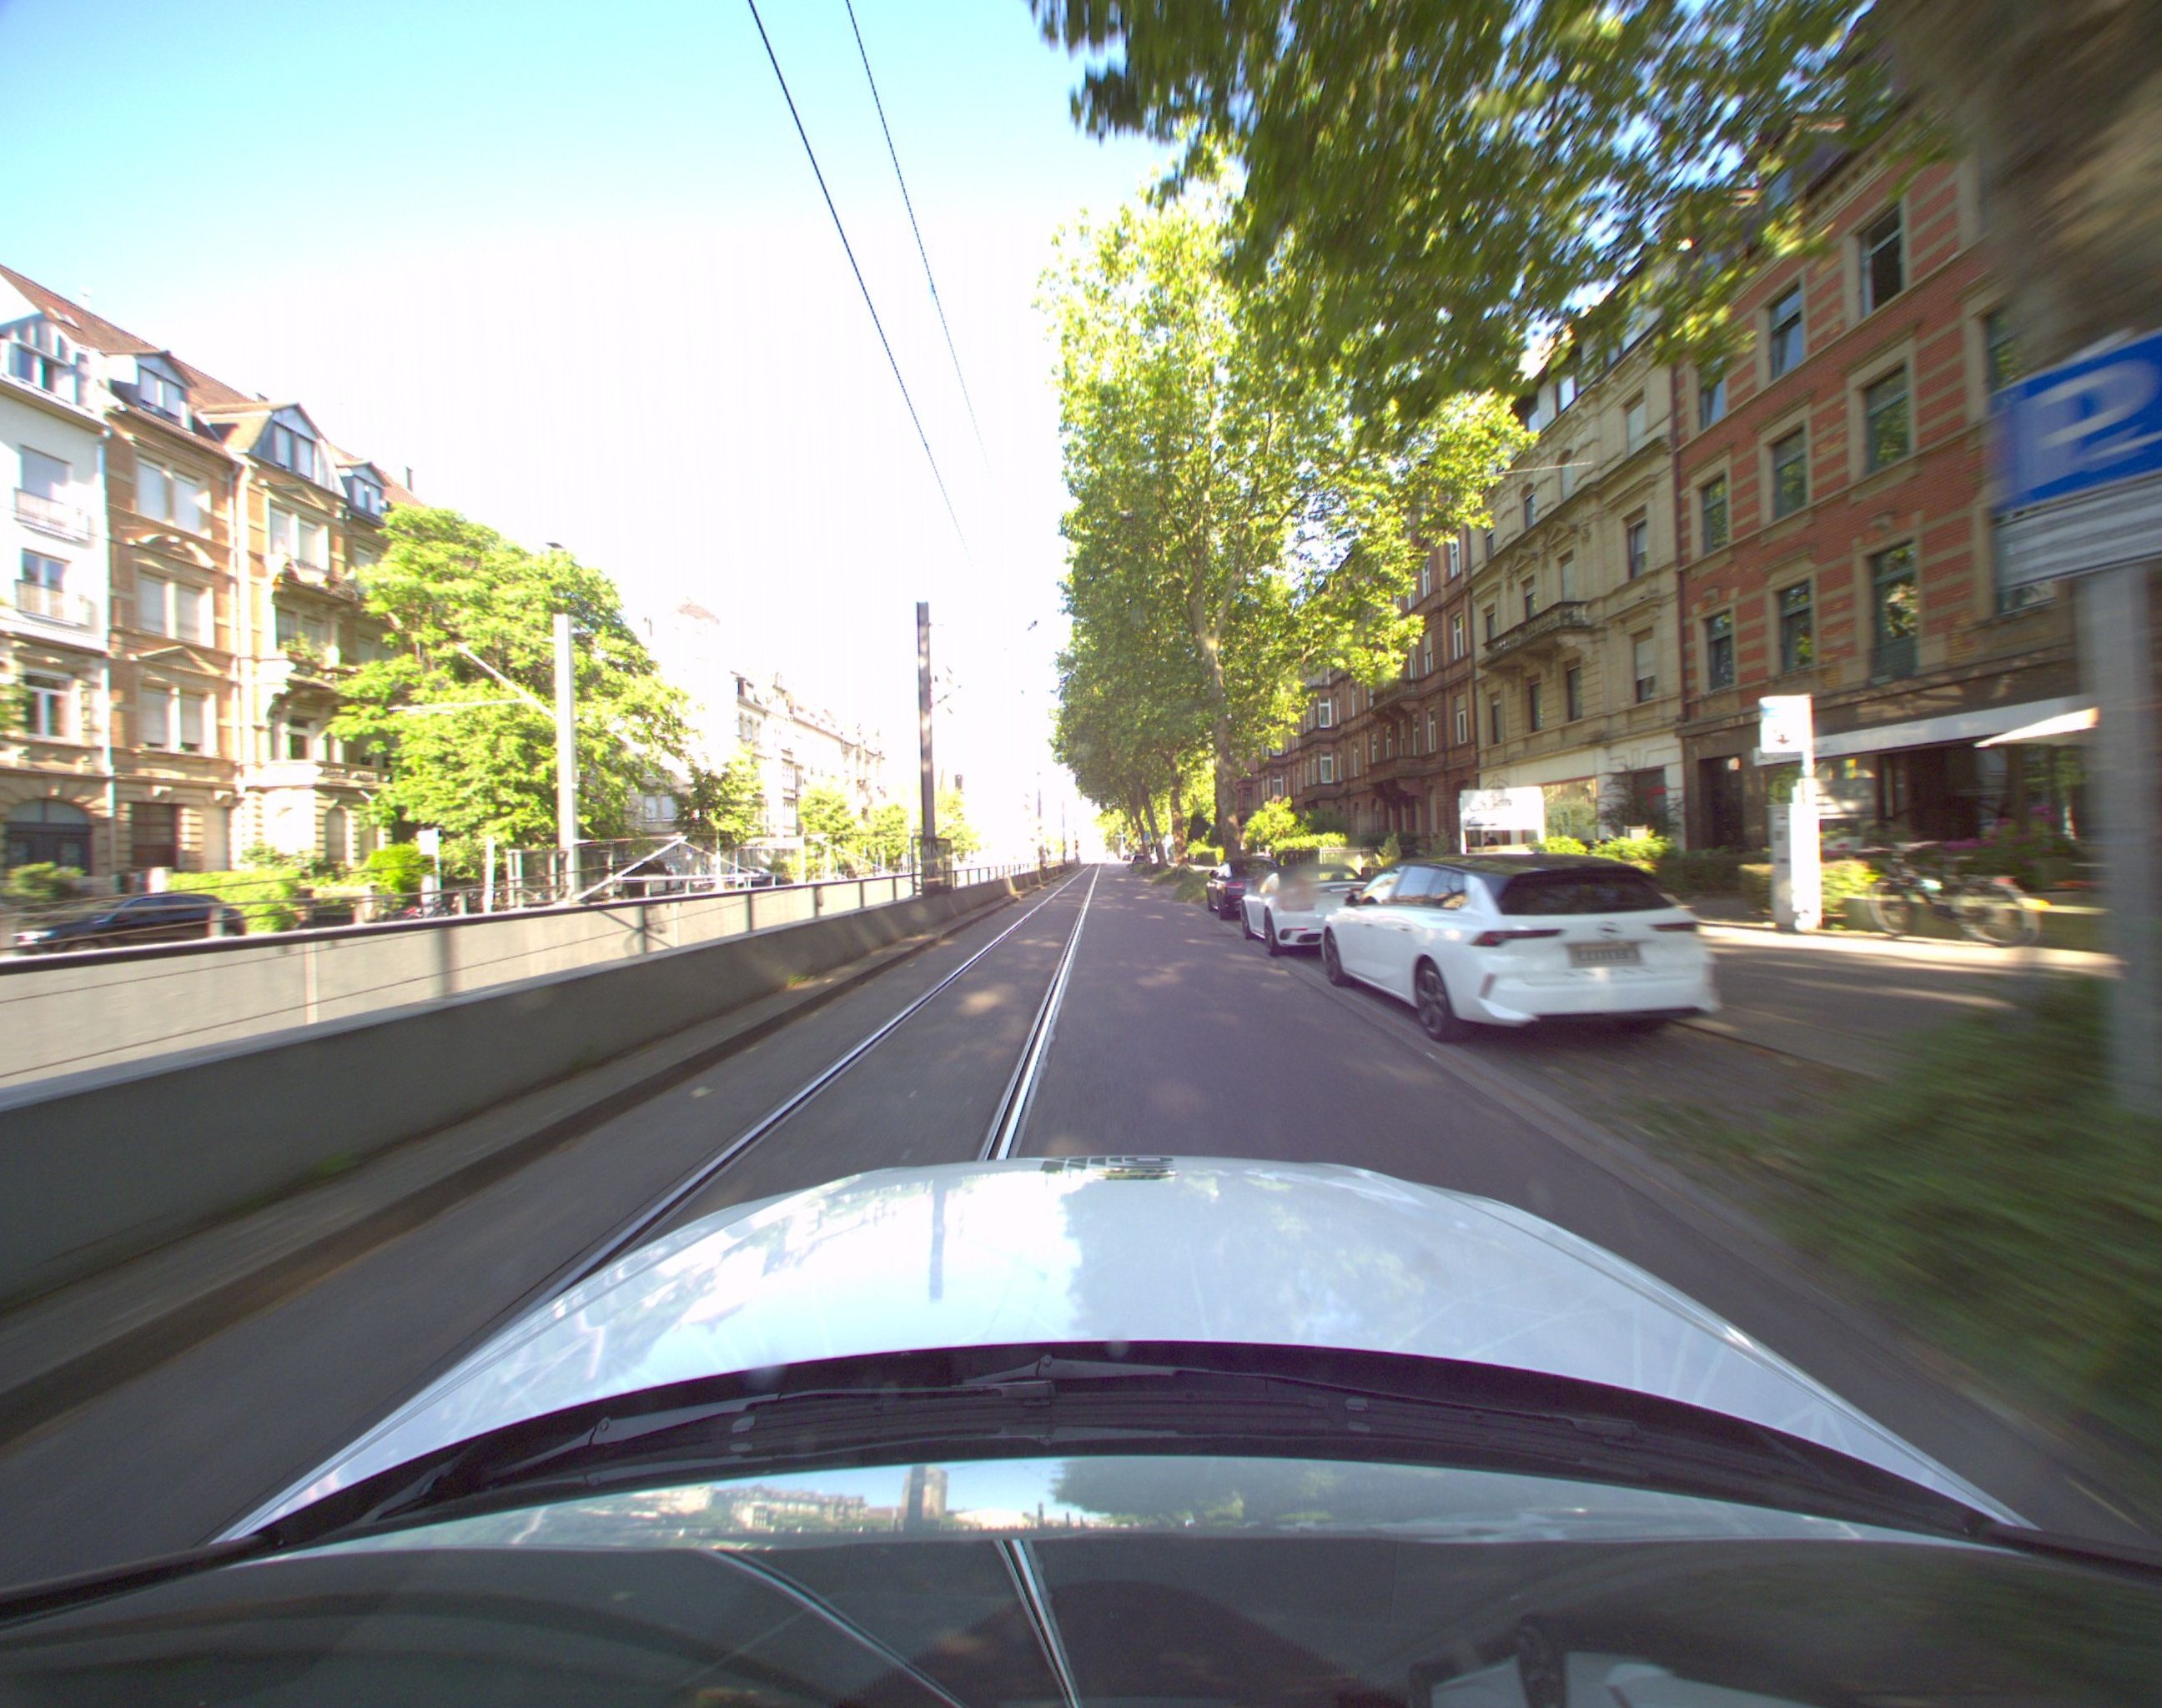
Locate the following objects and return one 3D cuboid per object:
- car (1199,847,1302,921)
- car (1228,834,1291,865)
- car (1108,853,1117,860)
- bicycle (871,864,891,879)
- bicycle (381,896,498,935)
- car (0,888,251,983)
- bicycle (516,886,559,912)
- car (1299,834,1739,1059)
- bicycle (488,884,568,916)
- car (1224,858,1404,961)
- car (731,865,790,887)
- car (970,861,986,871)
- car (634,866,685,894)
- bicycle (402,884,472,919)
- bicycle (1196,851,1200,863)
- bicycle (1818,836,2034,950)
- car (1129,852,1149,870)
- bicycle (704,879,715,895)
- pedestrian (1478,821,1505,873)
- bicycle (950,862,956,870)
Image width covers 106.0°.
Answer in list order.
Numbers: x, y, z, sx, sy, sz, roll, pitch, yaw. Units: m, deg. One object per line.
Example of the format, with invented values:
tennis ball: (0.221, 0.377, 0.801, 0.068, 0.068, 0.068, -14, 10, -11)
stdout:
car: (4.023, 0.656, 20.027, 1.725, 1.536, 4.808, -2, 0, 3)
car: (13.369, -0.325, 61.087, 4.163, 2.013, 1.999, -4, 0, -1)
car: (6.822, 0.504, 175.301, 1.739, 1.462, 3.645, 1, 0, 1)
bicycle: (-18.954, 1.652, 77.213, 1.721, 1.280, 0.601, -2, -1, 7)
bicycle: (-20.004, 1.892, 25.488, 2.796, 1.098, 0.636, 1, 0, -31)
car: (-20.477, 1.603, 17.178, 1.827, 1.585, 3.999, 1, 0, -1)
bicycle: (-20.391, 1.678, 30.582, 1.272, 0.905, 0.534, 1, 0, -29)
car: (3.602, 0.634, 7.870, 1.796, 1.477, 4.647, -2, 0, 1)
bicycle: (-20.310, 1.685, 29.965, 2.382, 1.098, 0.552, 1, 0, -29)
car: (3.527, 0.762, 13.094, 1.823, 1.326, 4.001, -2, 0, 2)
car: (-25.326, 1.728, 64.415, 3.984, 1.624, 1.820, -1, 0, -8)
car: (-16.939, 1.924, 134.351, 1.708, 1.555, 4.514, 1, 0, 3)
car: (-30.379, 1.865, 58.778, 1.994, 1.849, 4.465, 1, 0, -10)
bicycle: (-23.044, 1.677, 29.209, 0.553, 1.098, 2.376, 1, 0, 1)
bicycle: (11.940, 0.323, 83.349, 0.336, 1.250, 1.769, 1, 0, 6)
bicycle: (9.588, 0.403, 9.360, 0.473, 1.143, 1.896, -4, 0, 1)
car: (5.490, 0.622, 77.592, 1.611, 1.587, 4.417, -3, 0, 1)
bicycle: (-23.032, 2.058, 50.539, 0.457, 1.005, 1.925, 1, -3, -29)
pedestrian: (16.449, -0.278, 32.658, 0.670, 2.013, 0.633, -2, 0, 1)
bicycle: (-17.941, 1.668, 114.155, 0.487, 1.022, 1.879, 1, 0, -22)
